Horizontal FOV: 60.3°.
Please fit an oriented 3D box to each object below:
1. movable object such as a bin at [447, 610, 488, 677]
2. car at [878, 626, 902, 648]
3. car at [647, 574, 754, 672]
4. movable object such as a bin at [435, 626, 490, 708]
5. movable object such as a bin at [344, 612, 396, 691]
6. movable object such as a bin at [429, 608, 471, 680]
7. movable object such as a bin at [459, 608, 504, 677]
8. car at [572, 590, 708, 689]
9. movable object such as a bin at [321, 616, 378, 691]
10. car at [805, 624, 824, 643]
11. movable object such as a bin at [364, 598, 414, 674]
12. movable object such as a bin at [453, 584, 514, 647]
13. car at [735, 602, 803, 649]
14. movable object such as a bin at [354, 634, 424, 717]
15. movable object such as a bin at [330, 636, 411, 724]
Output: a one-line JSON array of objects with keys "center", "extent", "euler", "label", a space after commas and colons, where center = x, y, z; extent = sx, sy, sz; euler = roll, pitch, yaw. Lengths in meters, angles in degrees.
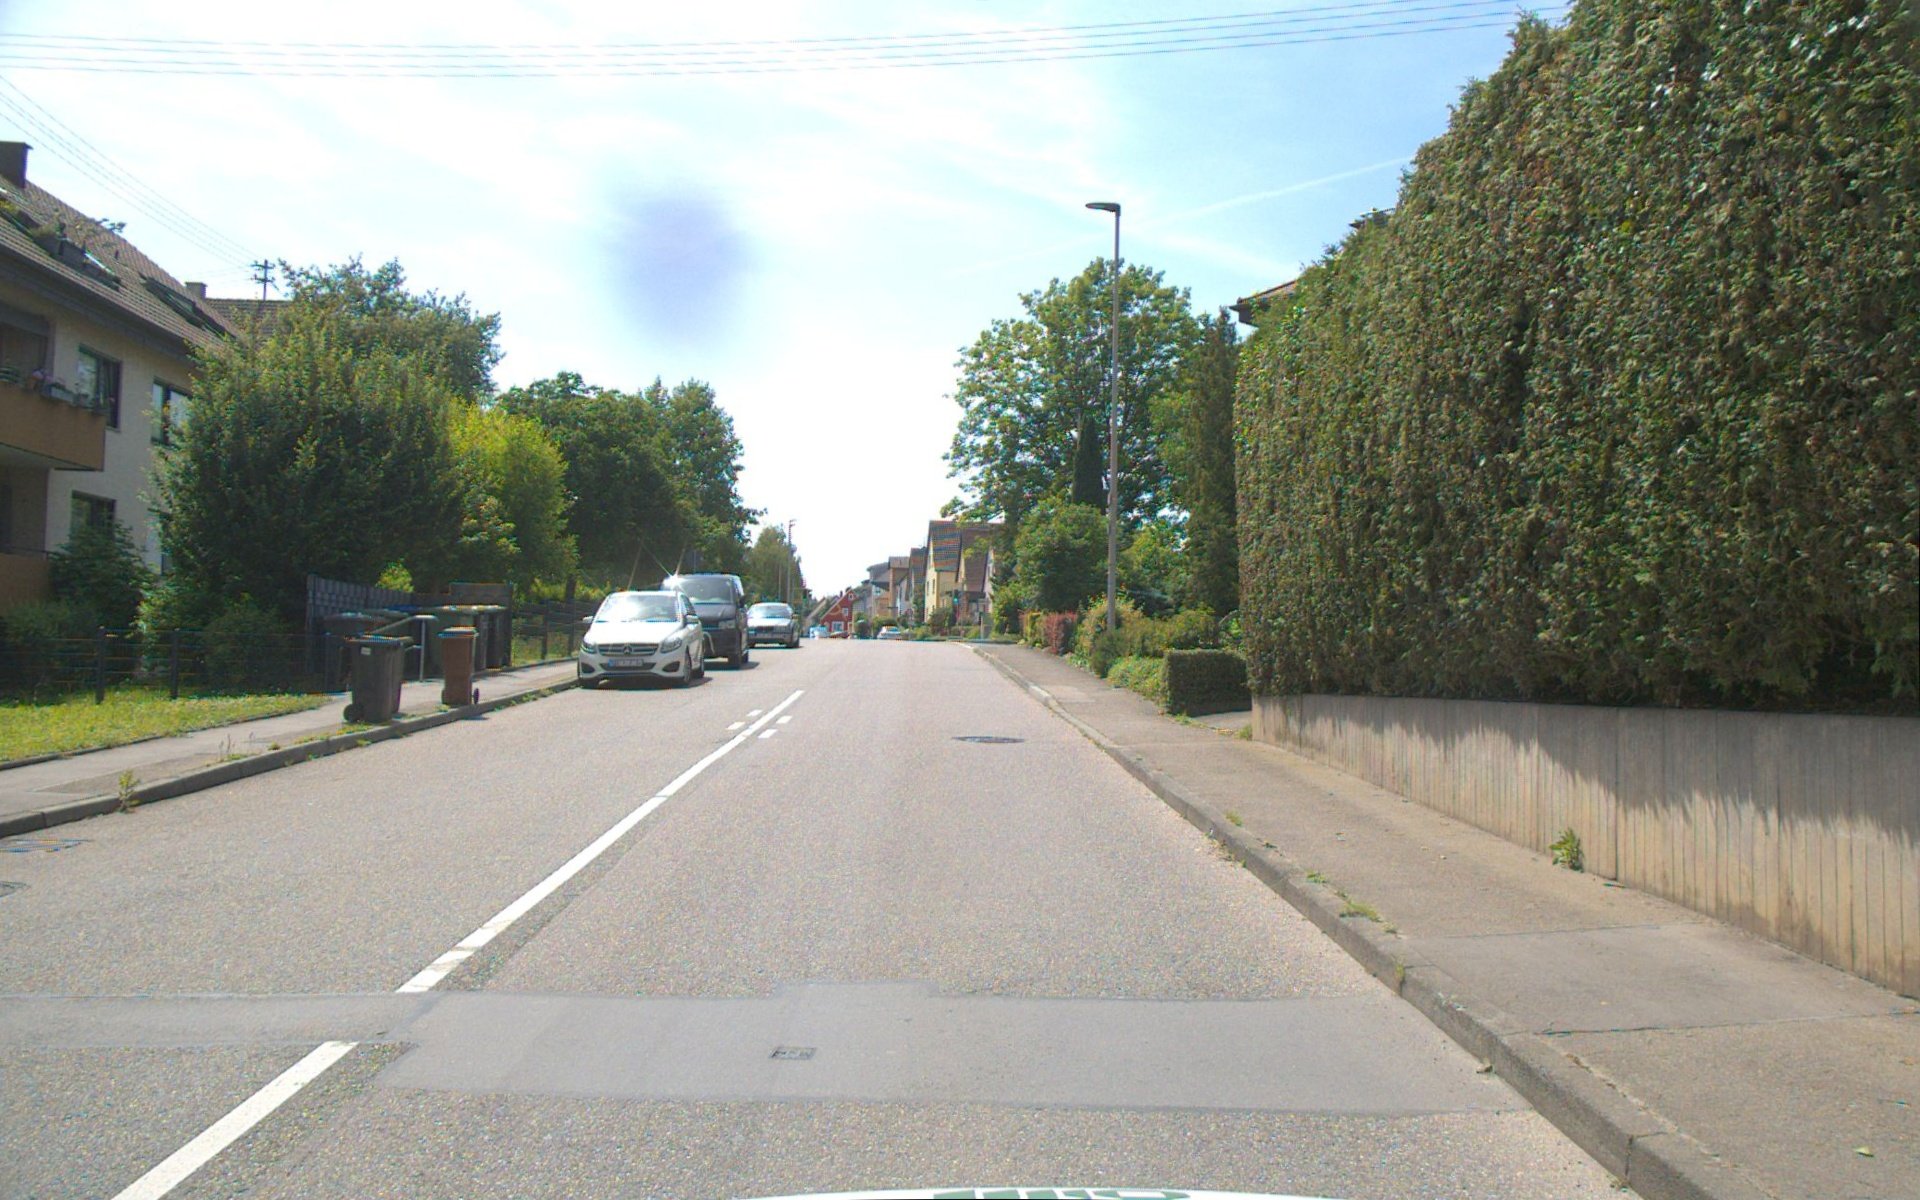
[{"center": [-8.025, 0.711, 26.948], "extent": [0.446, 1.062, 0.561], "euler": [-2, -1, 5], "label": "movable object such as a bin"}, {"center": [-5.650, 2.968, 133.483], "extent": [1.954, 1.632, 3.997], "euler": [0, 0, -3], "label": "car"}, {"center": [-5.565, 0.462, 35.987], "extent": [1.859, 1.954, 4.866], "euler": [-1, 0, -4], "label": "car"}, {"center": [-6.274, 0.837, 20.865], "extent": [0.495, 1.005, 0.563], "euler": [0, 0, 5], "label": "movable object such as a bin"}, {"center": [-9.175, 0.790, 25.728], "extent": [0.535, 1.198, 0.674], "euler": [0, 0, 3], "label": "movable object such as a bin"}, {"center": [-8.105, 0.697, 26.312], "extent": [0.506, 1.124, 0.529], "euler": [-1, -1, -3], "label": "movable object such as a bin"}, {"center": [-8.016, 0.703, 27.707], "extent": [0.486, 1.124, 0.710], "euler": [-2, -1, 5], "label": "movable object such as a bin"}, {"center": [-5.461, 0.621, 28.656], "extent": [1.775, 1.576, 4.240], "euler": [1, 0, -4], "label": "car"}, {"center": [-9.223, 0.803, 25.002], "extent": [0.590, 1.115, 0.650], "euler": [0, 0, 5], "label": "movable object such as a bin"}, {"center": [-16.014, 3.720, 182.159], "extent": [1.844, 1.999, 4.893], "euler": [0, 0, -8], "label": "car"}, {"center": [-9.145, 0.568, 26.518], "extent": [0.466, 1.198, 0.840], "euler": [0, 0, 3], "label": "movable object such as a bin"}, {"center": [-8.375, 0.264, 29.114], "extent": [0.881, 1.088, 0.695], "euler": [0, 0, -2], "label": "movable object such as a bin"}, {"center": [-6.055, 0.812, 52.780], "extent": [1.744, 1.419, 4.407], "euler": [0, -1, -2], "label": "car"}, {"center": [-6.672, 0.876, 19.348], "extent": [0.551, 0.934, 0.643], "euler": [0, 0, 5], "label": "movable object such as a bin"}, {"center": [-6.471, 0.873, 18.186], "extent": [0.606, 0.934, 0.686], "euler": [0, 0, 5], "label": "movable object such as a bin"}]
